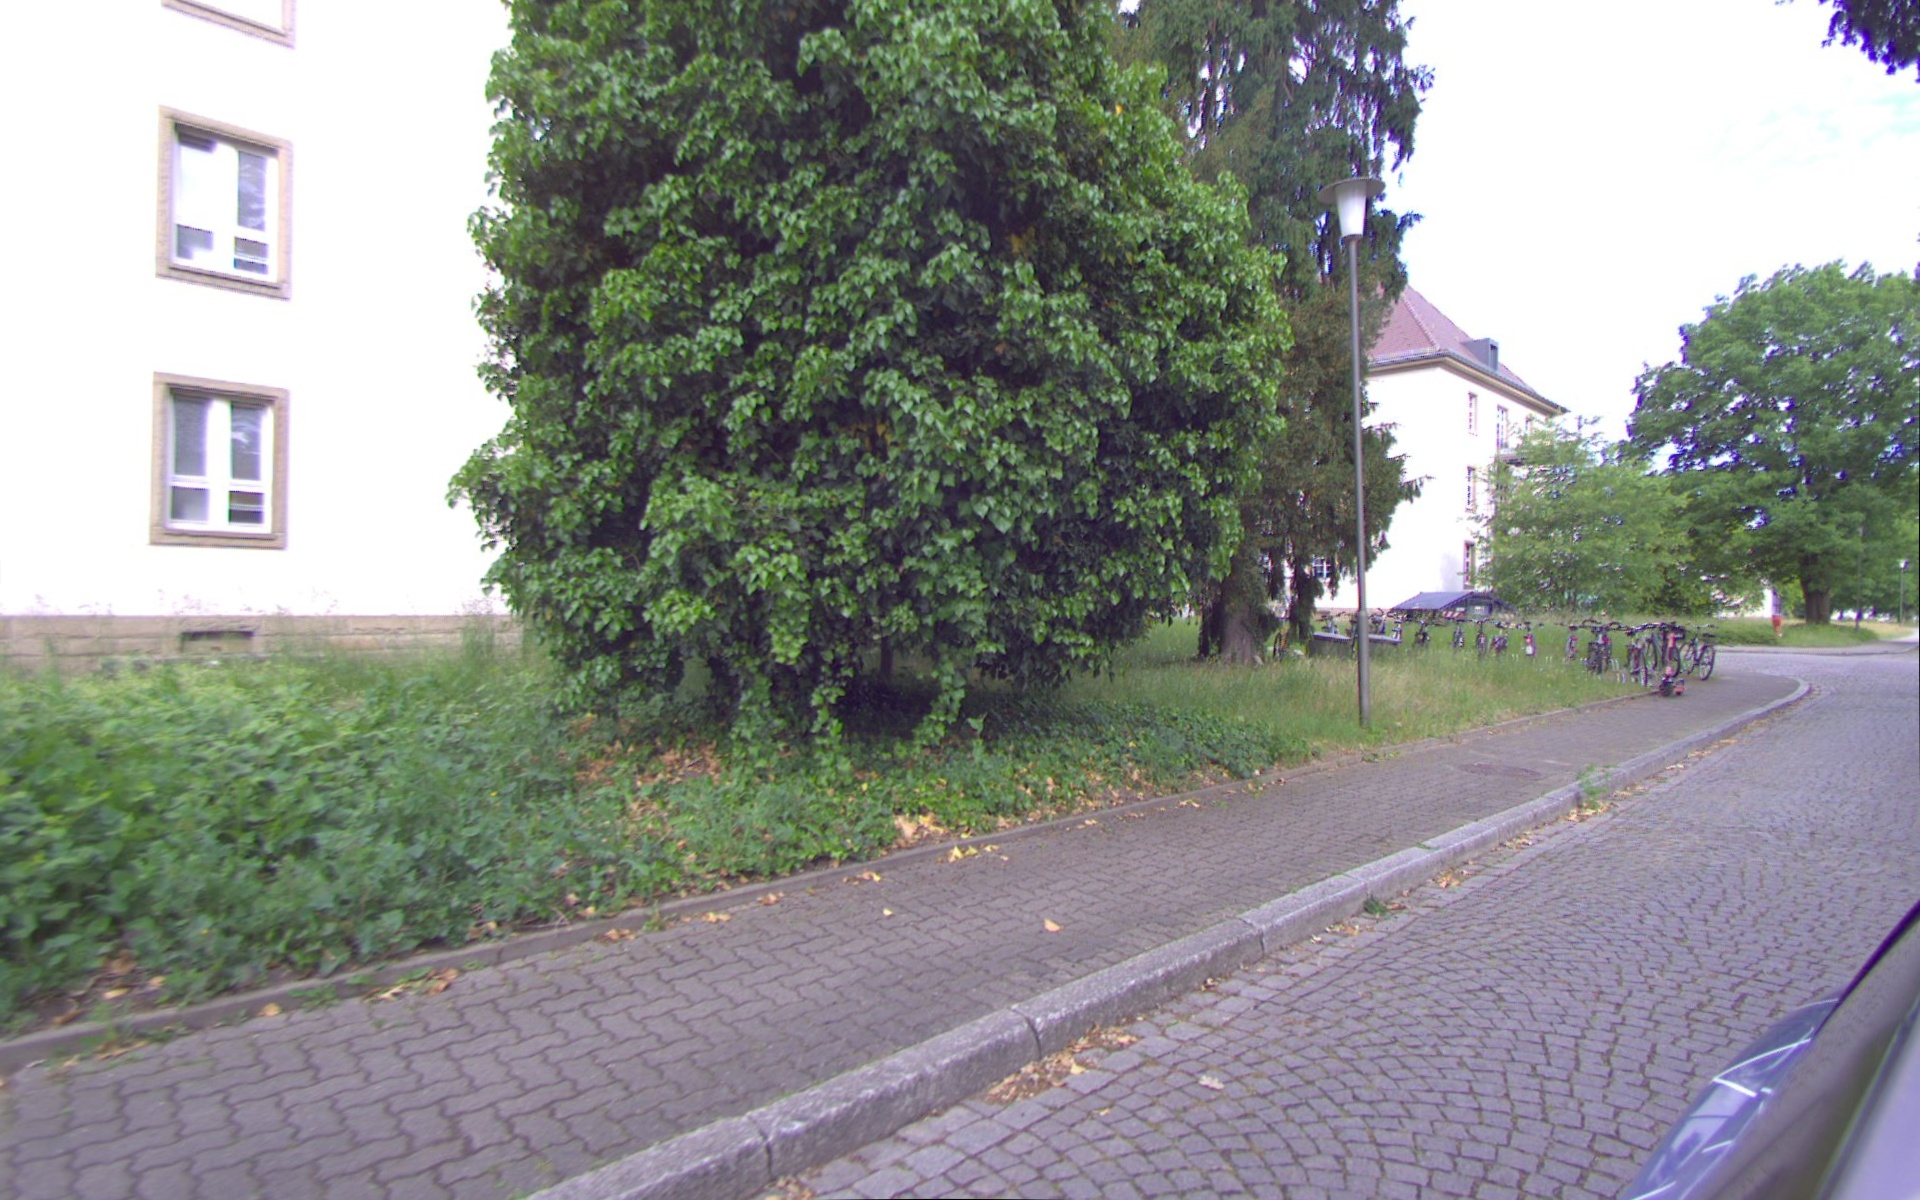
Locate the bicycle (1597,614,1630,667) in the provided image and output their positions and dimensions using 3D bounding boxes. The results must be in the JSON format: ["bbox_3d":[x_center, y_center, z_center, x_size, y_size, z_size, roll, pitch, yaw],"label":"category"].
[{"bbox_3d":[13.719,0.830,21.269,0.473,1.020,1.650,0,1,30],"label":"bicycle"}]

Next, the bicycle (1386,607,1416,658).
[{"bbox_3d":[10.242,0.723,23.482,0.473,1.126,1.746,0,0,30],"label":"bicycle"}]

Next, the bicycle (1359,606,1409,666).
[{"bbox_3d":[8.828,0.721,21.044,0.548,1.186,1.730,0,0,38],"label":"bicycle"}]

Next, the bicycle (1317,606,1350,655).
[{"bbox_3d":[8.980,0.715,24.325,0.473,1.126,1.746,0,0,30],"label":"bicycle"}]

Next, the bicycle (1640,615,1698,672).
[{"bbox_3d":[14.681,0.880,20.990,0.471,1.087,1.615,0,1,15],"label":"bicycle"}]

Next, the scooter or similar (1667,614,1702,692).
[{"bbox_3d":[11.905,0.847,16.621,0.356,1.225,1.120,0,0,42],"label":"scooter or similar"}]

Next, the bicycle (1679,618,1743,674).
[{"bbox_3d":[15.145,0.904,20.454,0.471,1.020,1.615,0,1,15],"label":"bicycle"}]

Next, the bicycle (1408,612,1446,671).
[{"bbox_3d":[9.125,0.782,19.821,0.545,1.078,1.742,0,0,20],"label":"bicycle"}]

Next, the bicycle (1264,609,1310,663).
[{"bbox_3d":[6.833,0.727,21.121,0.547,1.055,1.664,0,0,32],"label":"bicycle"}]

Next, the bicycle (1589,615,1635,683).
[{"bbox_3d":[11.750,0.849,18.268,0.546,1.128,1.787,0,0,28],"label":"bicycle"}]

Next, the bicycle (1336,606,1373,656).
[{"bbox_3d":[9.286,0.720,23.787,0.439,1.126,1.630,0,0,35],"label":"bicycle"}]

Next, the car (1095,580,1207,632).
[{"bbox_3d":[7.953,0.227,41.824,5.189,2.022,1.963,0,0,-44],"label":"car"}]

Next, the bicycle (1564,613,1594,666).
[{"bbox_3d":[13.224,0.827,21.641,0.473,1.020,1.650,0,1,30],"label":"bicycle"}]

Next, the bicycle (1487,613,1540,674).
[{"bbox_3d":[10.459,0.792,19.164,0.610,1.078,1.813,0,0,20],"label":"bicycle"}]

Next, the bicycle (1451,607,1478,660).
[{"bbox_3d":[11.388,0.731,22.868,0.472,1.126,1.750,0,0,24],"label":"bicycle"}]

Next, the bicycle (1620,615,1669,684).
[{"bbox_3d":[12.203,0.853,18.079,0.546,1.128,1.752,0,0,28],"label":"bicycle"}]

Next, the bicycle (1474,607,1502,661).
[{"bbox_3d":[11.722,0.731,22.448,0.473,1.126,1.746,0,0,30],"label":"bicycle"}]

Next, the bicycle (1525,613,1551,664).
[{"bbox_3d":[12.639,0.825,22.147,0.473,1.020,1.650,0,1,30],"label":"bicycle"}]

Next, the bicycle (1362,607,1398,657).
[{"bbox_3d":[9.809,0.725,23.612,0.439,1.126,1.630,0,0,35],"label":"bicycle"}]
